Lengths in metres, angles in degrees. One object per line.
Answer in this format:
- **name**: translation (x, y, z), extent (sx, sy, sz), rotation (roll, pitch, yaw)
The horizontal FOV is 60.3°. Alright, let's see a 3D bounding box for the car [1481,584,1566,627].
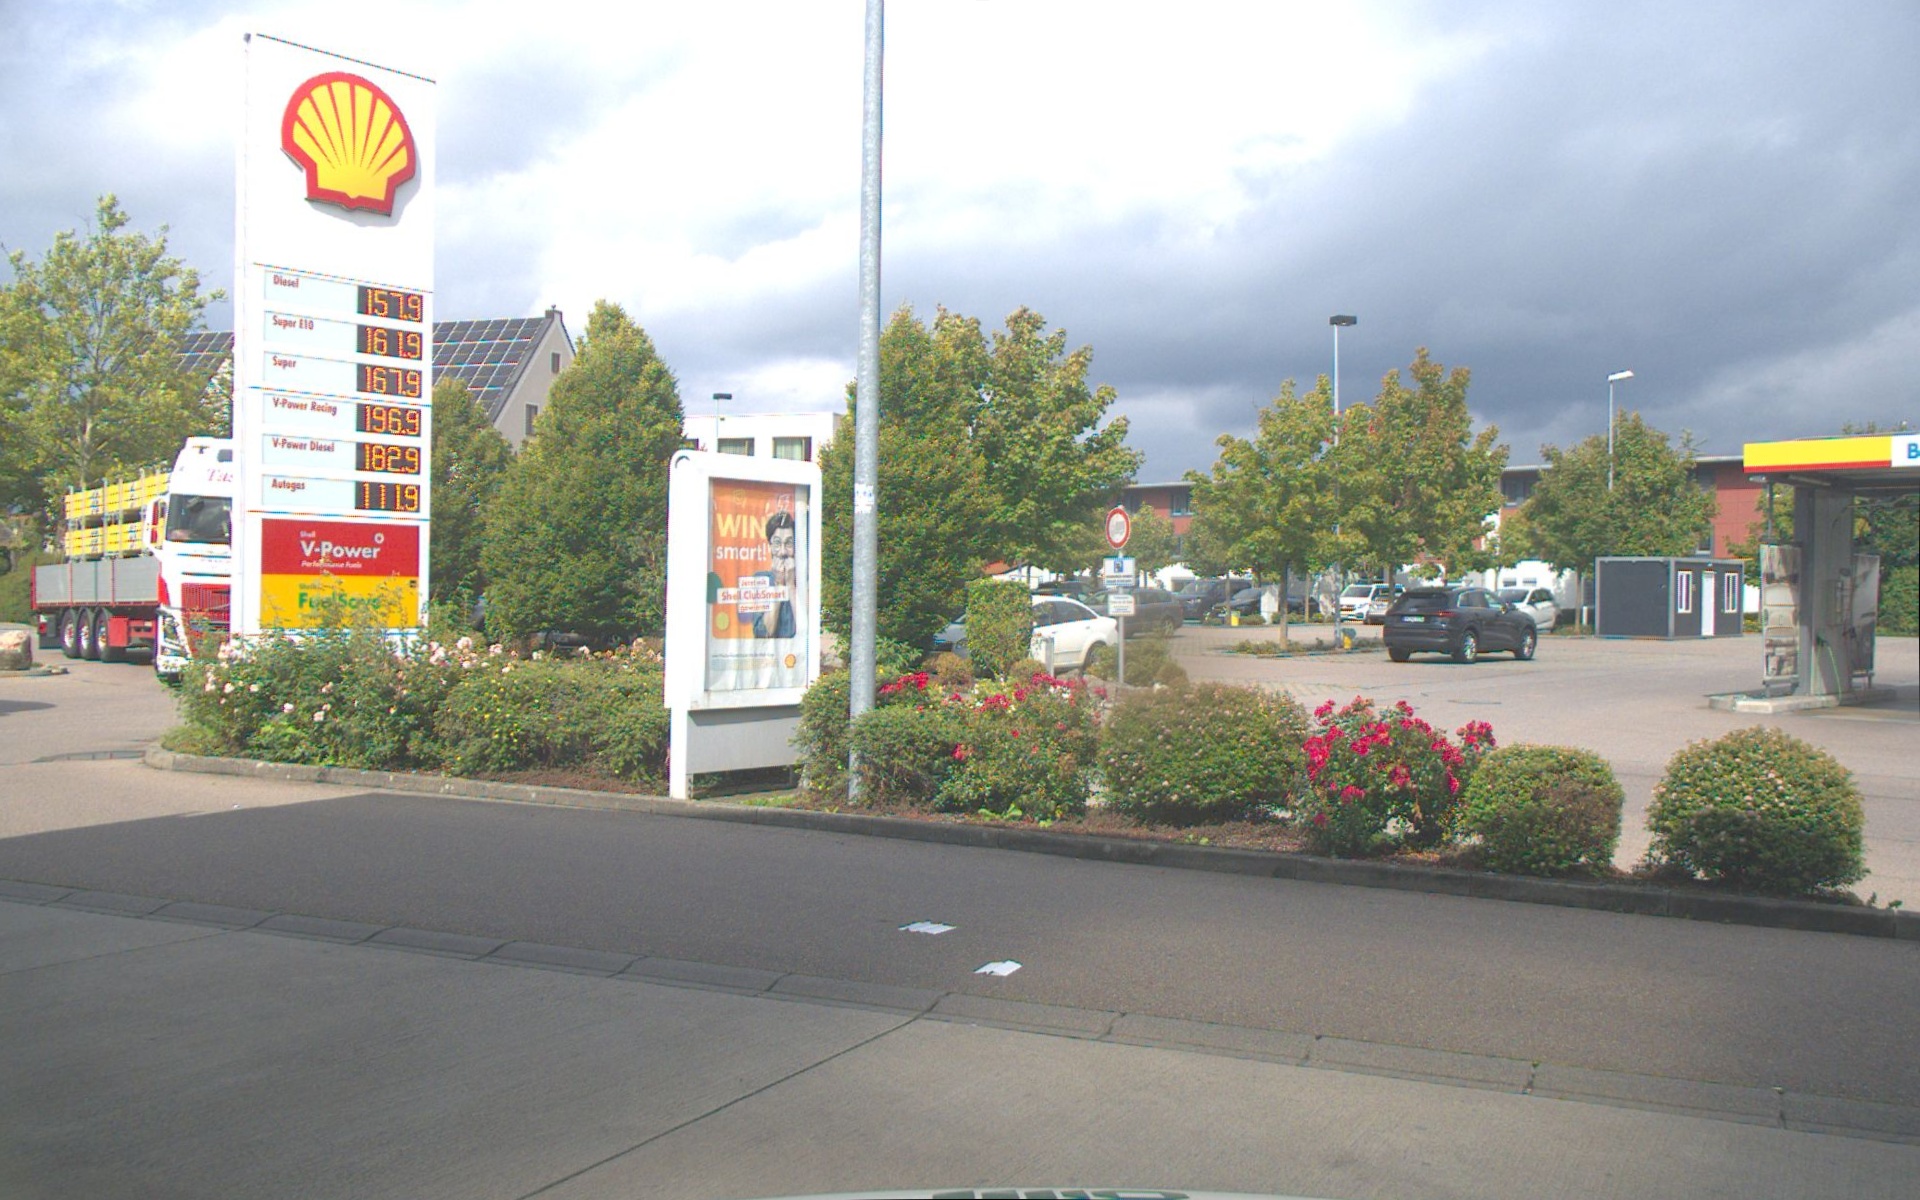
- **car**: translation (18.007, 0.175, 52.810), extent (3.080, 1.330, 1.346), rotation (1, -1, -45)

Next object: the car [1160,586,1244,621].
- **car**: translation (9.812, 0.150, 66.936), extent (3.364, 1.343, 1.719), rotation (1, 0, -45)

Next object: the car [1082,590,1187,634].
- **car**: translation (5.278, 0.371, 49.797), extent (3.203, 1.249, 1.481), rotation (1, 0, -45)

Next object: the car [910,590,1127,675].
- **car**: translation (1.132, 0.580, 29.941), extent (1.348, 1.428, 4.312), rotation (1, -1, 45)

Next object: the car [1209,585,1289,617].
- **car**: translation (11.413, 0.046, 65.214), extent (3.393, 1.199, 1.462), rotation (1, 0, -45)

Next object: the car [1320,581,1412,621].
- **car**: translation (19.916, 0.042, 80.949), extent (4.839, 1.865, 2.150), rotation (1, 0, -44)

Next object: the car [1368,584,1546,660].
- **car**: translation (11.130, 0.490, 36.897), extent (4.467, 1.575, 1.856), rotation (1, 0, -44)

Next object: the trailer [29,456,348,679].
- **trailer**: translation (-16.318, -0.595, 34.192), extent (2.714, 3.842, 12.525), rotation (1, 0, -40)

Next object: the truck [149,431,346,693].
- **truck**: translation (-11.972, -0.548, 27.965), extent (2.695, 3.913, 5.877), rotation (1, 0, -23)
